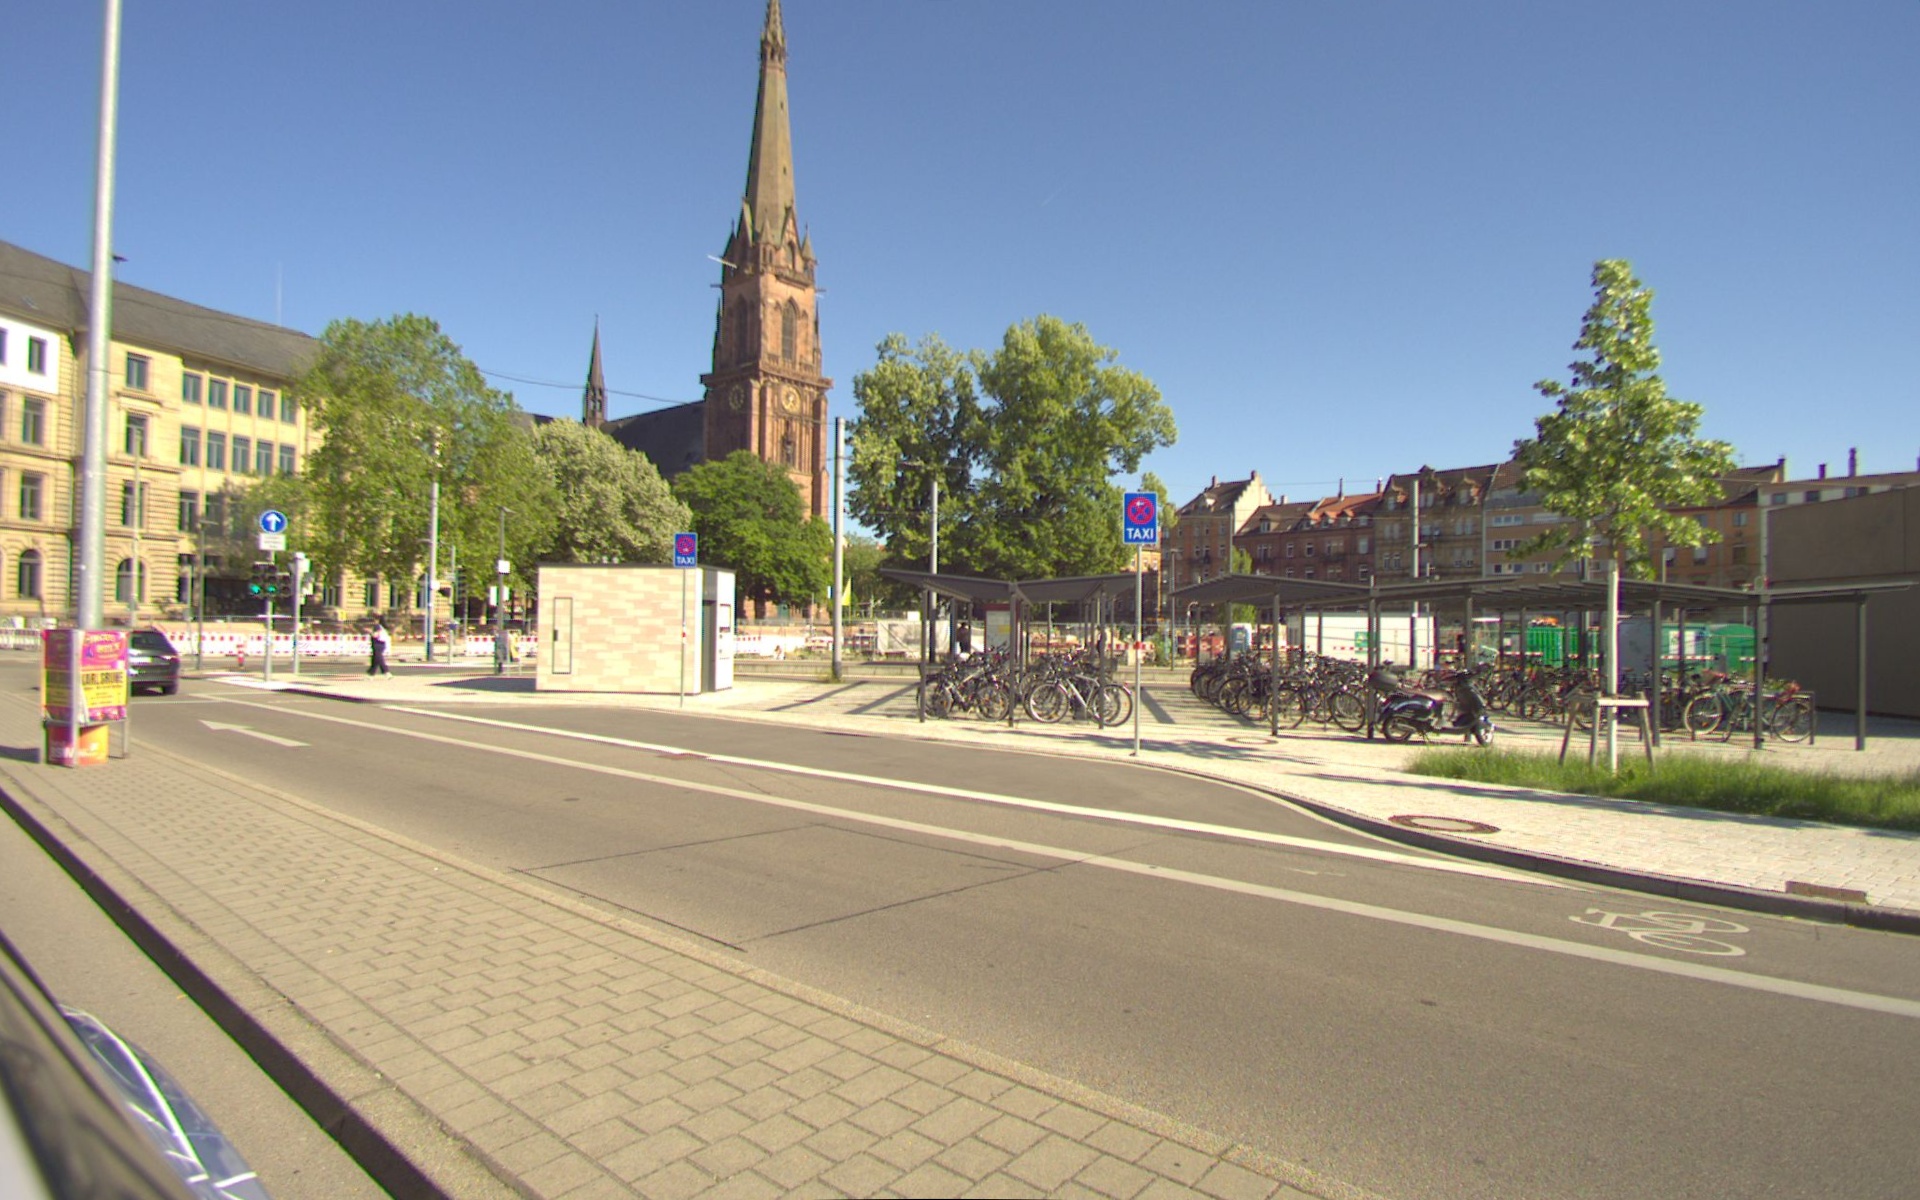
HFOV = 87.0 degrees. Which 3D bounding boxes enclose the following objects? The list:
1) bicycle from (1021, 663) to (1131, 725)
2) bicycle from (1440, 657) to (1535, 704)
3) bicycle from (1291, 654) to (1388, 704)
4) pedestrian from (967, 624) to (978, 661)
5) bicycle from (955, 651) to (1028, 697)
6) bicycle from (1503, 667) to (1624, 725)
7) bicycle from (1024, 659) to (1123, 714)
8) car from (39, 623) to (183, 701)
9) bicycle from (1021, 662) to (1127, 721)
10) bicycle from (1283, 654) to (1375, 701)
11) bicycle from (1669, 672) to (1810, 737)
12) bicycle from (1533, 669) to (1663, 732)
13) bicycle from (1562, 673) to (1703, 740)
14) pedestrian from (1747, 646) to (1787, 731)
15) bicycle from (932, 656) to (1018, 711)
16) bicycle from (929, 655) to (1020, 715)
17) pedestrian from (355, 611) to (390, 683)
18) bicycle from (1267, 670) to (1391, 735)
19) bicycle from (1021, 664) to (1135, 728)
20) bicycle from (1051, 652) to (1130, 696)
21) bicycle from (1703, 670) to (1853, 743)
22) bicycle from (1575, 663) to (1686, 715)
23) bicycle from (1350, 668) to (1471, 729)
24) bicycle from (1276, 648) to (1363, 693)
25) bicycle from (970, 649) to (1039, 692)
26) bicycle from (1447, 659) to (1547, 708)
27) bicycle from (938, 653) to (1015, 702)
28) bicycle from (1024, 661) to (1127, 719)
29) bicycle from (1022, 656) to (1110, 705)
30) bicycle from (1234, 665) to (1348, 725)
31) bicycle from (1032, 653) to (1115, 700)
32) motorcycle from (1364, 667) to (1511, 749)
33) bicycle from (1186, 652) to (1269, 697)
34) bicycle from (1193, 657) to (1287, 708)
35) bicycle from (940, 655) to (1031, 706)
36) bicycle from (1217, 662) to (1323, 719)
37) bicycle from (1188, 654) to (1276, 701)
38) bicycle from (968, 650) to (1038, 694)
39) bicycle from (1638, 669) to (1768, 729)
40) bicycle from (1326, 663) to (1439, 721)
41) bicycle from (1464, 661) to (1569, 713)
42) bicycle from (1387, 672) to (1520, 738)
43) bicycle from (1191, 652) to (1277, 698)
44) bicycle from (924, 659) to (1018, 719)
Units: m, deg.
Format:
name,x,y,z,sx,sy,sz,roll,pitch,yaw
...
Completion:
name,x,y,z,sx,sy,sz,roll,pitch,yaw
bicycle,2.016,1.631,17.680,1.882,1.016,0.456,0,-2,8
bicycle,12.076,1.845,23.200,1.882,1.016,0.456,0,-2,8
bicycle,8.054,1.669,21.525,1.882,1.016,0.456,0,-2,8
pedestrian,0.584,2.003,47.622,0.399,1.734,0.419,1,-2,-11
bicycle,0.743,1.717,23.488,1.652,1.016,0.456,0,-2,8
bicycle,11.161,1.765,18.763,1.882,1.016,0.456,0,-2,8
bicycle,2.194,1.666,19.591,1.882,1.016,0.456,0,-2,8
car,-18.493,1.282,21.962,4.575,1.511,1.769,-1,-4,43
bicycle,2.051,1.640,18.267,1.882,1.016,0.456,0,-2,8
bicycle,8.313,1.744,22.824,1.882,1.016,0.456,0,-2,8
bicycle,13.125,1.752,17.071,1.882,1.016,0.456,0,-2,8
bicycle,11.098,1.741,17.647,1.882,1.016,0.456,0,-2,8
bicycle,10.969,1.726,16.542,1.882,1.016,0.456,0,-2,8
pedestrian,19.861,2.158,24.913,0.718,2.029,0.678,-1,-3,41
bicycle,0.302,1.633,19.894,1.652,1.016,0.456,0,-2,8
bicycle,0.277,1.566,18.783,1.652,1.069,0.456,0,-2,8
pedestrian,-15.556,1.229,26.802,0.683,1.868,0.680,2,-2,-38
bicycle,6.118,1.690,16.845,1.882,1.016,0.456,0,-2,8
bicycle,1.986,1.609,17.120,1.882,1.016,0.456,0,-2,8
bicycle,3.159,1.784,24.605,1.882,1.016,0.456,0,-2,8
bicycle,13.079,1.694,16.211,1.882,1.106,0.456,0,-2,8
bicycle,13.871,1.828,20.976,1.882,1.016,0.456,0,-2,8
bicycle,7.891,1.717,17.769,1.882,1.016,0.456,0,-2,8
bicycle,8.484,1.661,23.916,1.882,1.016,0.456,0,-2,8
bicycle,1.104,1.737,24.948,1.652,1.016,0.456,0,-2,8
bicycle,11.781,1.834,22.249,1.882,1.016,0.456,0,-2,8
bicycle,0.369,1.698,22.230,1.652,1.016,0.456,0,-2,8
bicycle,2.134,1.652,18.749,1.882,1.016,0.456,0,-2,8
bicycle,2.294,1.730,21.927,1.882,1.016,0.456,0,-2,8
bicycle,5.897,1.691,18.098,1.882,1.016,0.456,0,-2,8
bicycle,2.603,1.755,23.310,1.882,1.016,0.456,0,-2,8
motorcycle,7.158,1.610,15.231,1.924,1.160,0.516,0,-2,6
bicycle,6.391,1.770,24.231,1.882,1.016,0.456,0,-2,8
bicycle,5.962,1.755,21.615,1.882,1.016,0.456,0,-2,8
bicycle,0.540,1.682,21.232,1.882,1.016,0.456,0,-2,8
bicycle,5.895,1.716,19.329,1.882,1.016,0.456,0,-2,8
bicycle,6.146,1.746,22.949,1.882,1.016,0.456,0,-2,8
bicycle,1.039,1.722,24.232,1.652,1.016,0.456,0,-2,8
bicycle,13.466,1.786,18.370,1.882,1.016,0.456,0,-2,8
bicycle,7.915,1.720,19.002,1.882,1.016,0.456,0,-2,8
bicycle,11.711,1.823,21.318,1.882,1.016,0.456,0,-2,8
bicycle,8.025,1.699,16.499,1.882,1.016,0.456,0,-2,8
bicycle,6.363,1.740,23.573,1.882,1.016,0.456,0,-2,8
bicycle,0.198,1.592,18.197,1.652,1.016,0.456,0,-2,8
